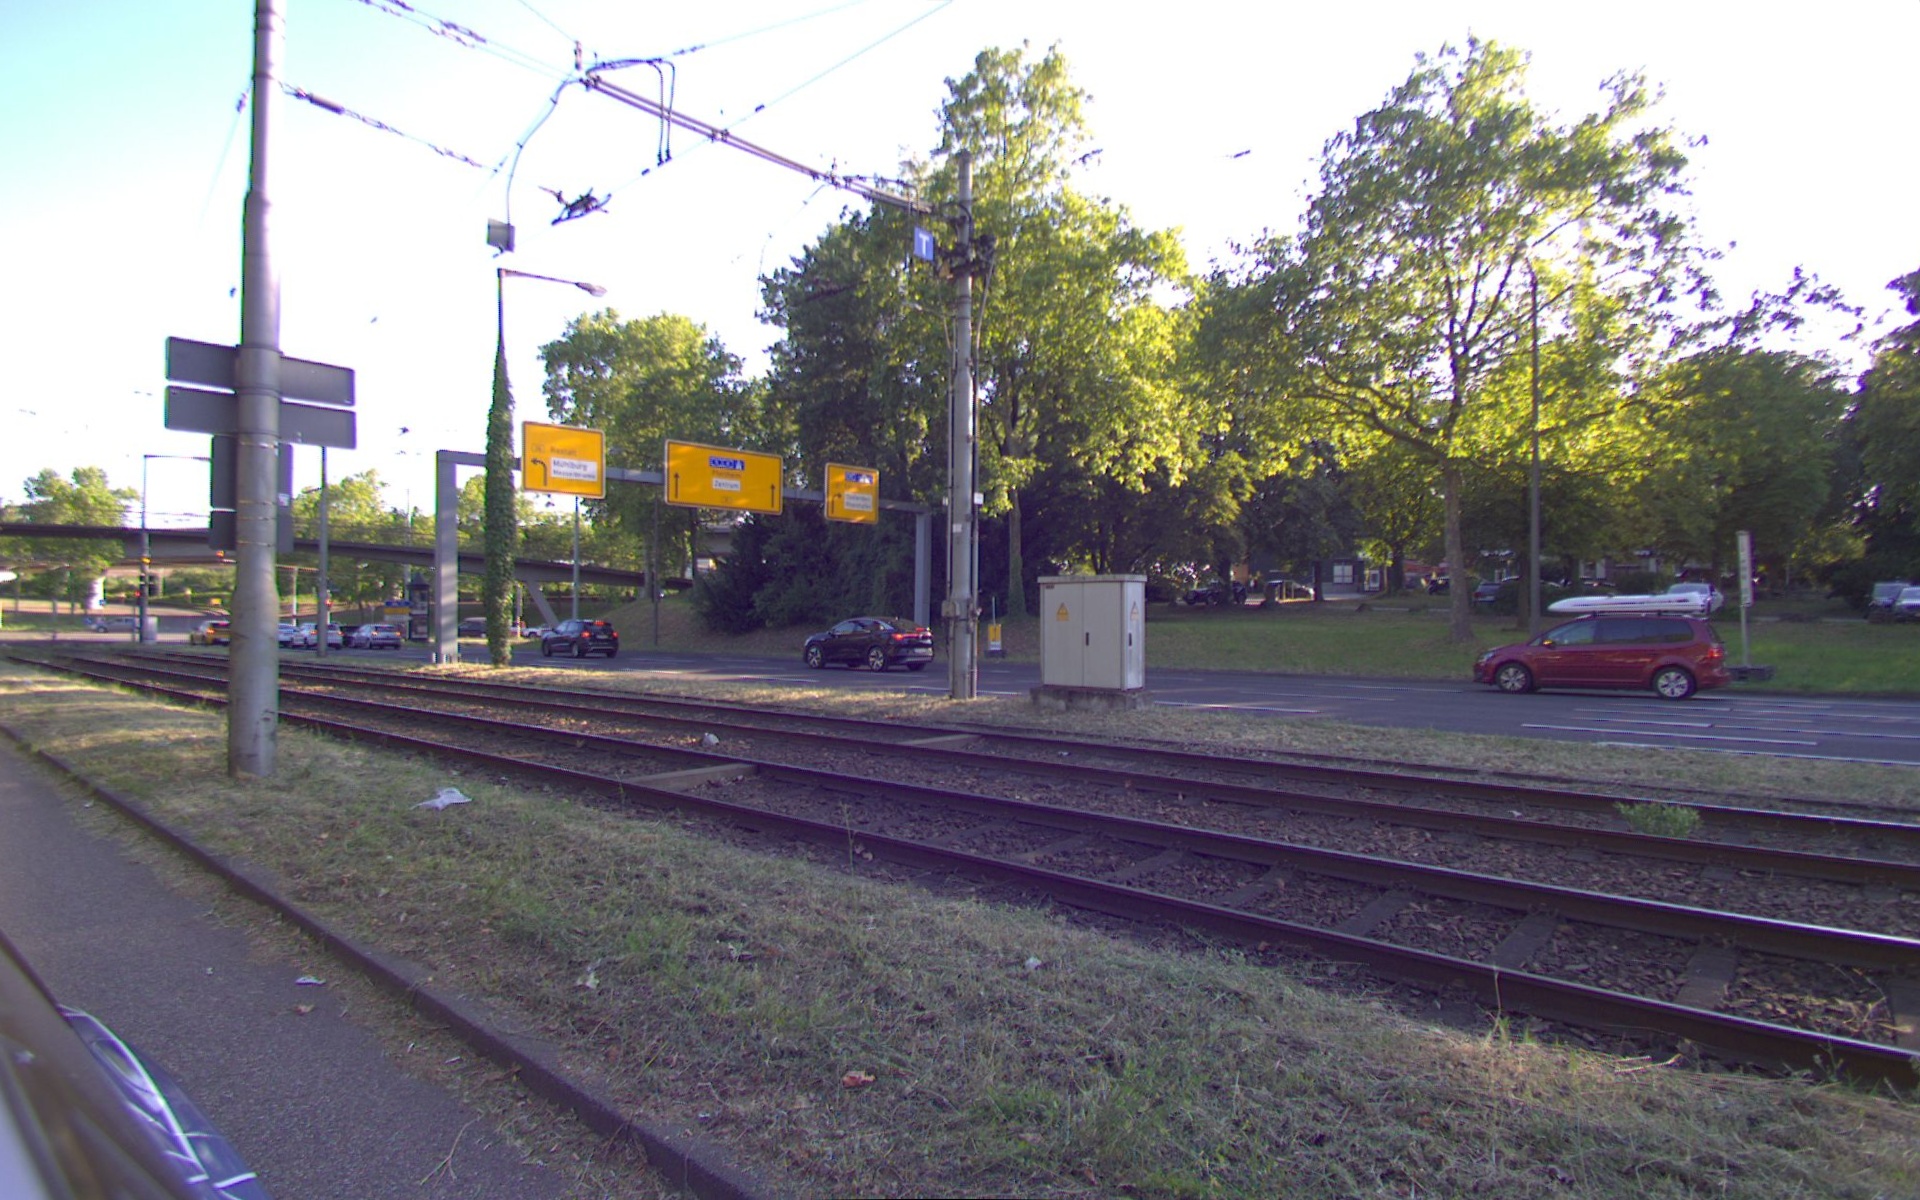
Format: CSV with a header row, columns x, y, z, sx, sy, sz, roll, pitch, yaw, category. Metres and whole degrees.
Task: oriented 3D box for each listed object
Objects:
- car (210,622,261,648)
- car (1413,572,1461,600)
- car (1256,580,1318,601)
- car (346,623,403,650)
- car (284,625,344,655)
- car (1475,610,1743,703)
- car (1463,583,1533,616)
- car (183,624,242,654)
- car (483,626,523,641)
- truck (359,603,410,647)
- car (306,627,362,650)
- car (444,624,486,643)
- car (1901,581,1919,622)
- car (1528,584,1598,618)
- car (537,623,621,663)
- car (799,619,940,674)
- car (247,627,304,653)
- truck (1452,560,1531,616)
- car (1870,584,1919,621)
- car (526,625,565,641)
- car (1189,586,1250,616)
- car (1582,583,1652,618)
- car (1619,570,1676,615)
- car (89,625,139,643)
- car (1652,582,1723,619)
x,y,z,sx,sy,sz,roll,pitch,yaw,category
-45.845,2.177,64.050,4.228,1.561,1.892,-1,-2,44,car
33.548,-1.001,71.069,2.290,1.864,5.214,-1,1,34,car
24.667,-0.717,76.323,4.030,1.521,1.946,-1,0,-13,car
-34.970,2.149,60.422,3.998,1.556,1.789,-1,-1,41,car
-35.748,2.199,55.962,3.997,1.556,1.744,-1,-1,40,car
12.847,1.060,20.177,4.308,1.647,1.818,-1,-2,40,car
26.163,-0.049,49.194,1.942,1.521,4.039,0,0,44,car
-40.811,2.118,55.261,3.997,1.556,1.744,-1,-1,40,car
-49.238,3.597,109.082,3.810,1.421,1.817,-1,0,-30,car
-40.311,1.734,70.774,2.248,2.901,6.895,0,-1,-37,truck
-39.770,2.416,64.235,4.224,1.435,1.844,-1,-1,40,car
-50.824,3.414,103.925,3.748,1.872,1.682,-1,0,-30,car
37.574,0.032,38.901,1.942,1.521,4.039,0,0,44,car
28.418,0.010,47.665,1.942,1.521,4.039,0,0,44,car
-15.888,1.764,42.079,3.974,1.569,1.732,-2,-3,44,car
-2.776,1.346,30.342,4.332,1.556,1.713,-1,-2,41,car
-40.581,2.330,59.960,4.226,1.435,1.893,-1,-1,42,car
31.735,-0.694,60.293,2.503,3.191,6.137,0,0,45,truck
43.962,0.090,47.235,3.998,1.628,1.864,-1,0,-43,car
-43.960,3.473,107.272,3.747,1.591,1.683,-1,0,-26,car
15.388,0.056,59.965,1.791,1.657,3.942,-1,-1,44,car
30.028,0.002,46.228,1.942,1.521,4.039,0,0,44,car
36.879,-0.406,54.247,2.161,2.320,4.348,0,0,40,car
-78.381,3.165,93.801,3.314,1.581,1.616,-1,-1,-32,car
31.555,-0.002,43.853,1.942,1.521,4.039,0,0,44,car
